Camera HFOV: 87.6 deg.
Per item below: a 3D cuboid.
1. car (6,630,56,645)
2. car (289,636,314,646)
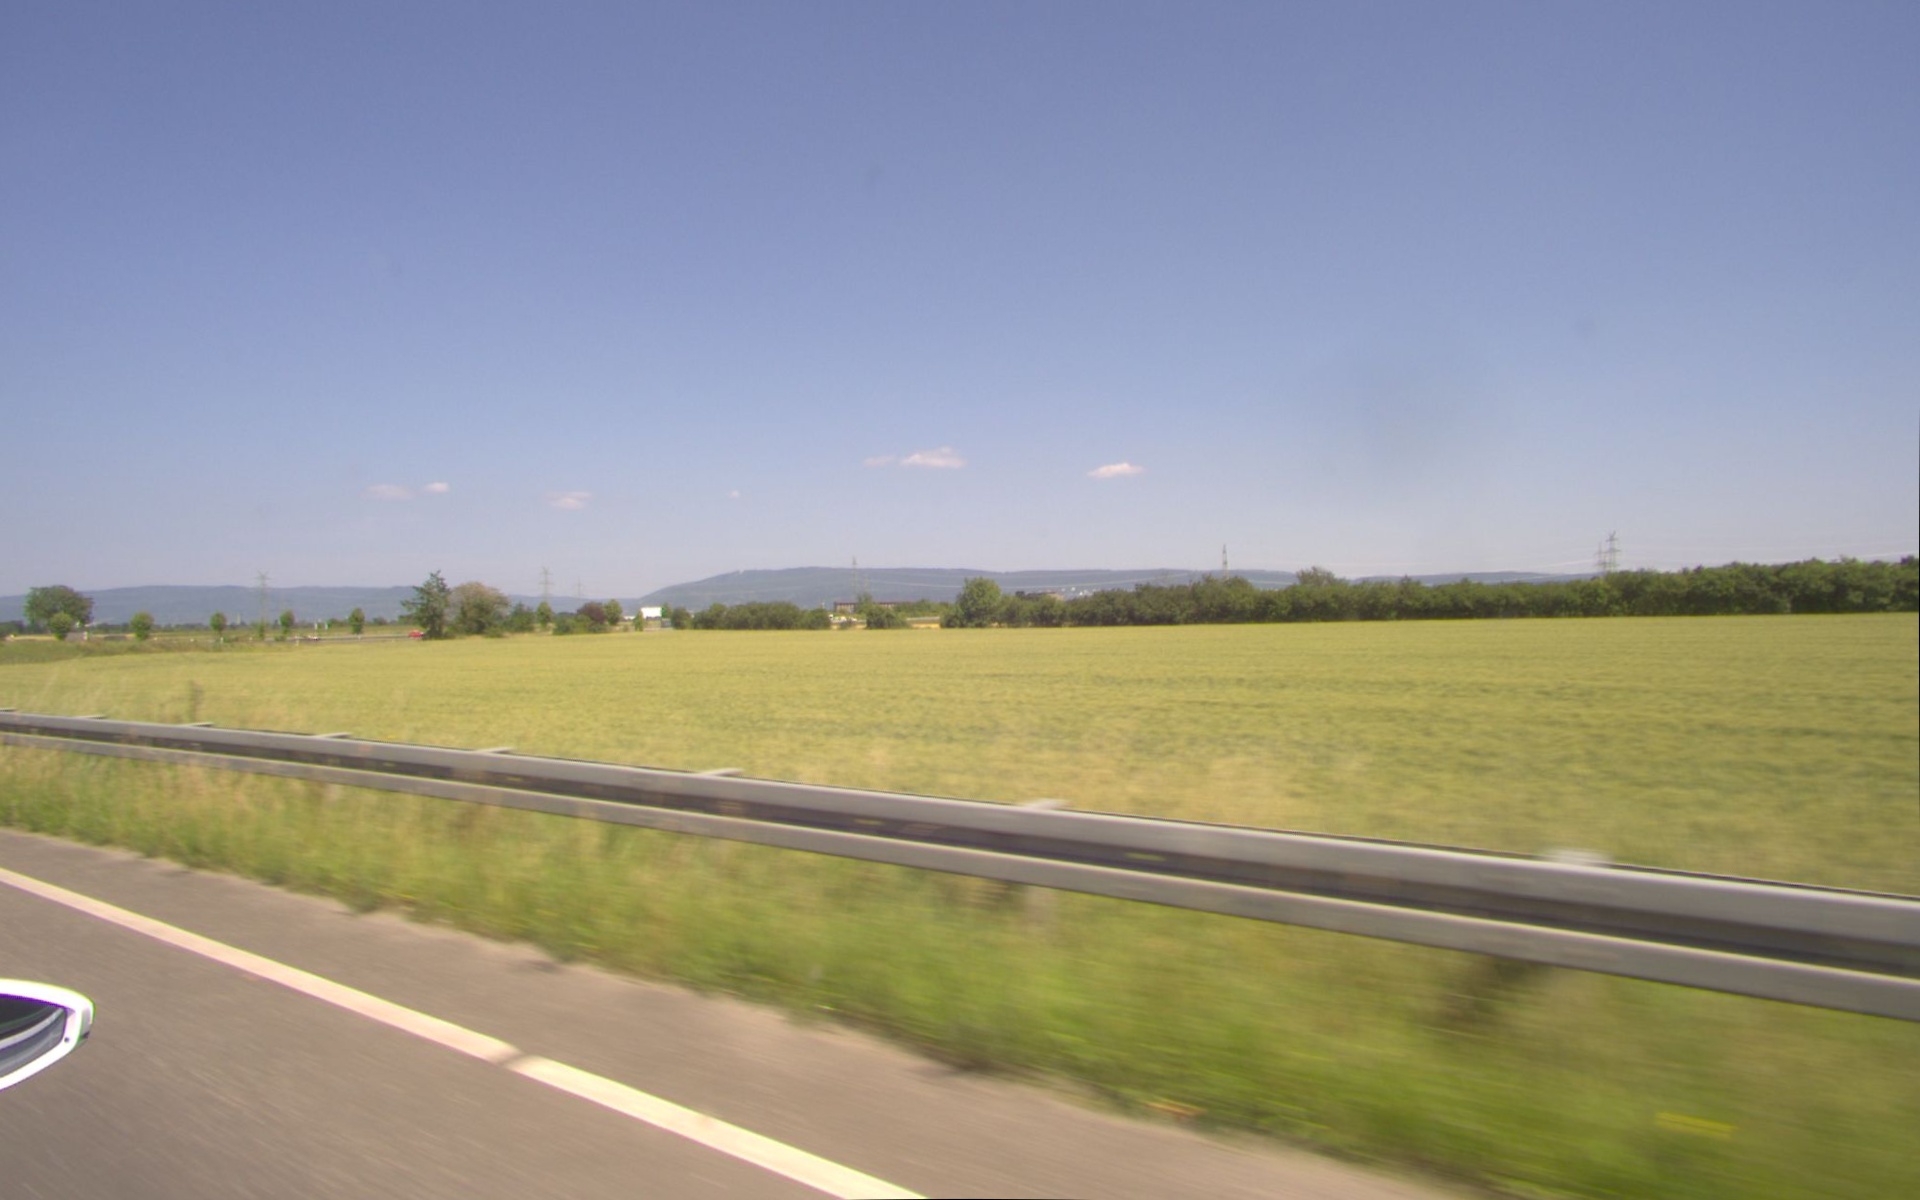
[{"bbox_3d":[-92.657,3.767,99.919,1.617,1.504,3.486,-1,-2,5],"label":"car"},{"bbox_3d":[-102.050,6.433,155.148,1.617,1.504,3.487,-1,-2,-1],"label":"car"}]
